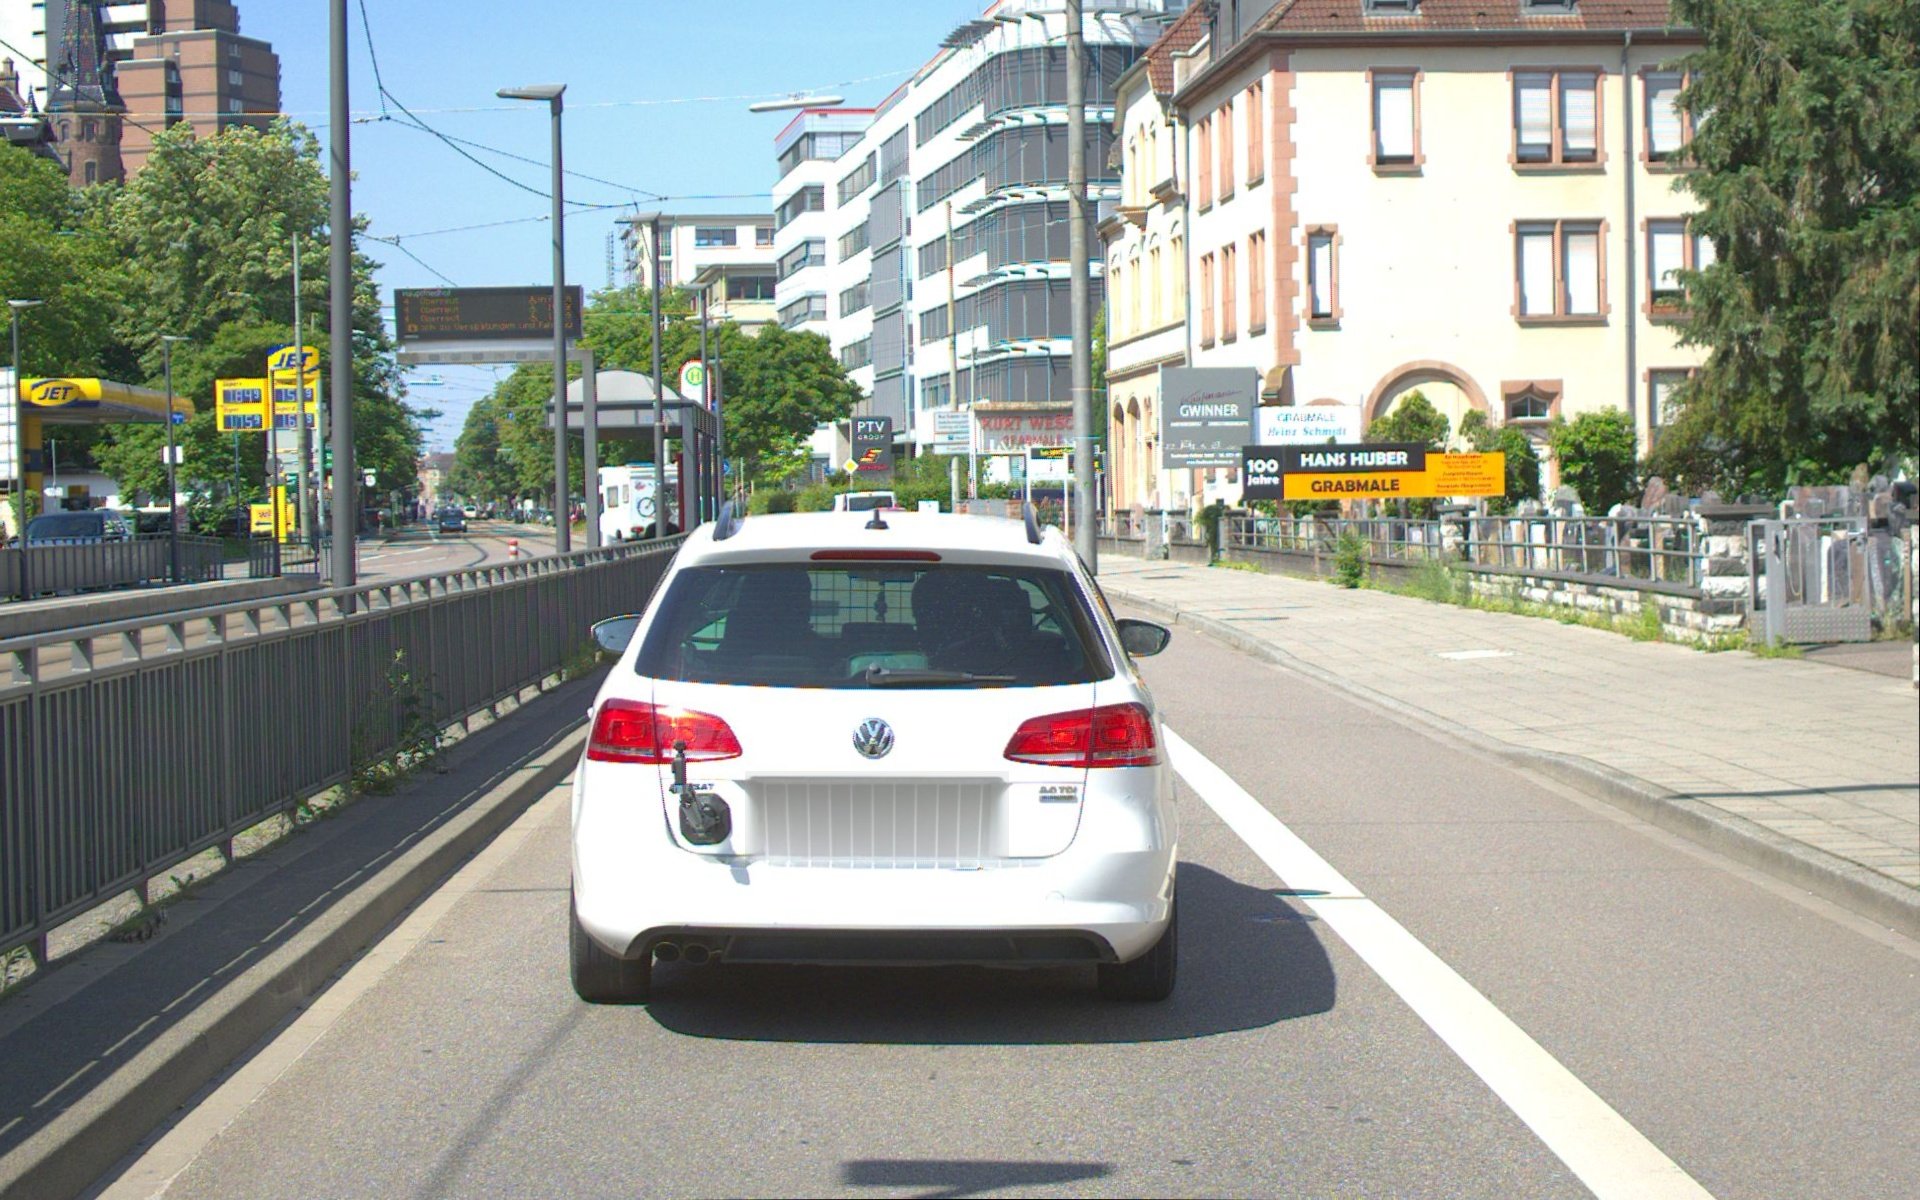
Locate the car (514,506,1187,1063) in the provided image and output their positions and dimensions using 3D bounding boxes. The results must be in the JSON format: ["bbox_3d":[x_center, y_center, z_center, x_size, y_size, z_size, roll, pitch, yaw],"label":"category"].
[{"bbox_3d":[-0.235,0.431,10.962,1.753,1.413,3.853,1,2,2],"label":"car"}]

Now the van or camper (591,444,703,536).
[{"bbox_3d":[-11.333,-3.964,123.901,2.943,3.169,6.615,-2,2,-14],"label":"van or camper"}]

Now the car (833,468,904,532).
[{"bbox_3d":[-2.998,-3.259,111.718,1.993,2.006,4.001,-2,2,-5],"label":"car"}]

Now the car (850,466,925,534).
[{"bbox_3d":[-2.253,-3.103,106.303,1.993,2.006,4.001,-2,2,-5],"label":"car"}]
